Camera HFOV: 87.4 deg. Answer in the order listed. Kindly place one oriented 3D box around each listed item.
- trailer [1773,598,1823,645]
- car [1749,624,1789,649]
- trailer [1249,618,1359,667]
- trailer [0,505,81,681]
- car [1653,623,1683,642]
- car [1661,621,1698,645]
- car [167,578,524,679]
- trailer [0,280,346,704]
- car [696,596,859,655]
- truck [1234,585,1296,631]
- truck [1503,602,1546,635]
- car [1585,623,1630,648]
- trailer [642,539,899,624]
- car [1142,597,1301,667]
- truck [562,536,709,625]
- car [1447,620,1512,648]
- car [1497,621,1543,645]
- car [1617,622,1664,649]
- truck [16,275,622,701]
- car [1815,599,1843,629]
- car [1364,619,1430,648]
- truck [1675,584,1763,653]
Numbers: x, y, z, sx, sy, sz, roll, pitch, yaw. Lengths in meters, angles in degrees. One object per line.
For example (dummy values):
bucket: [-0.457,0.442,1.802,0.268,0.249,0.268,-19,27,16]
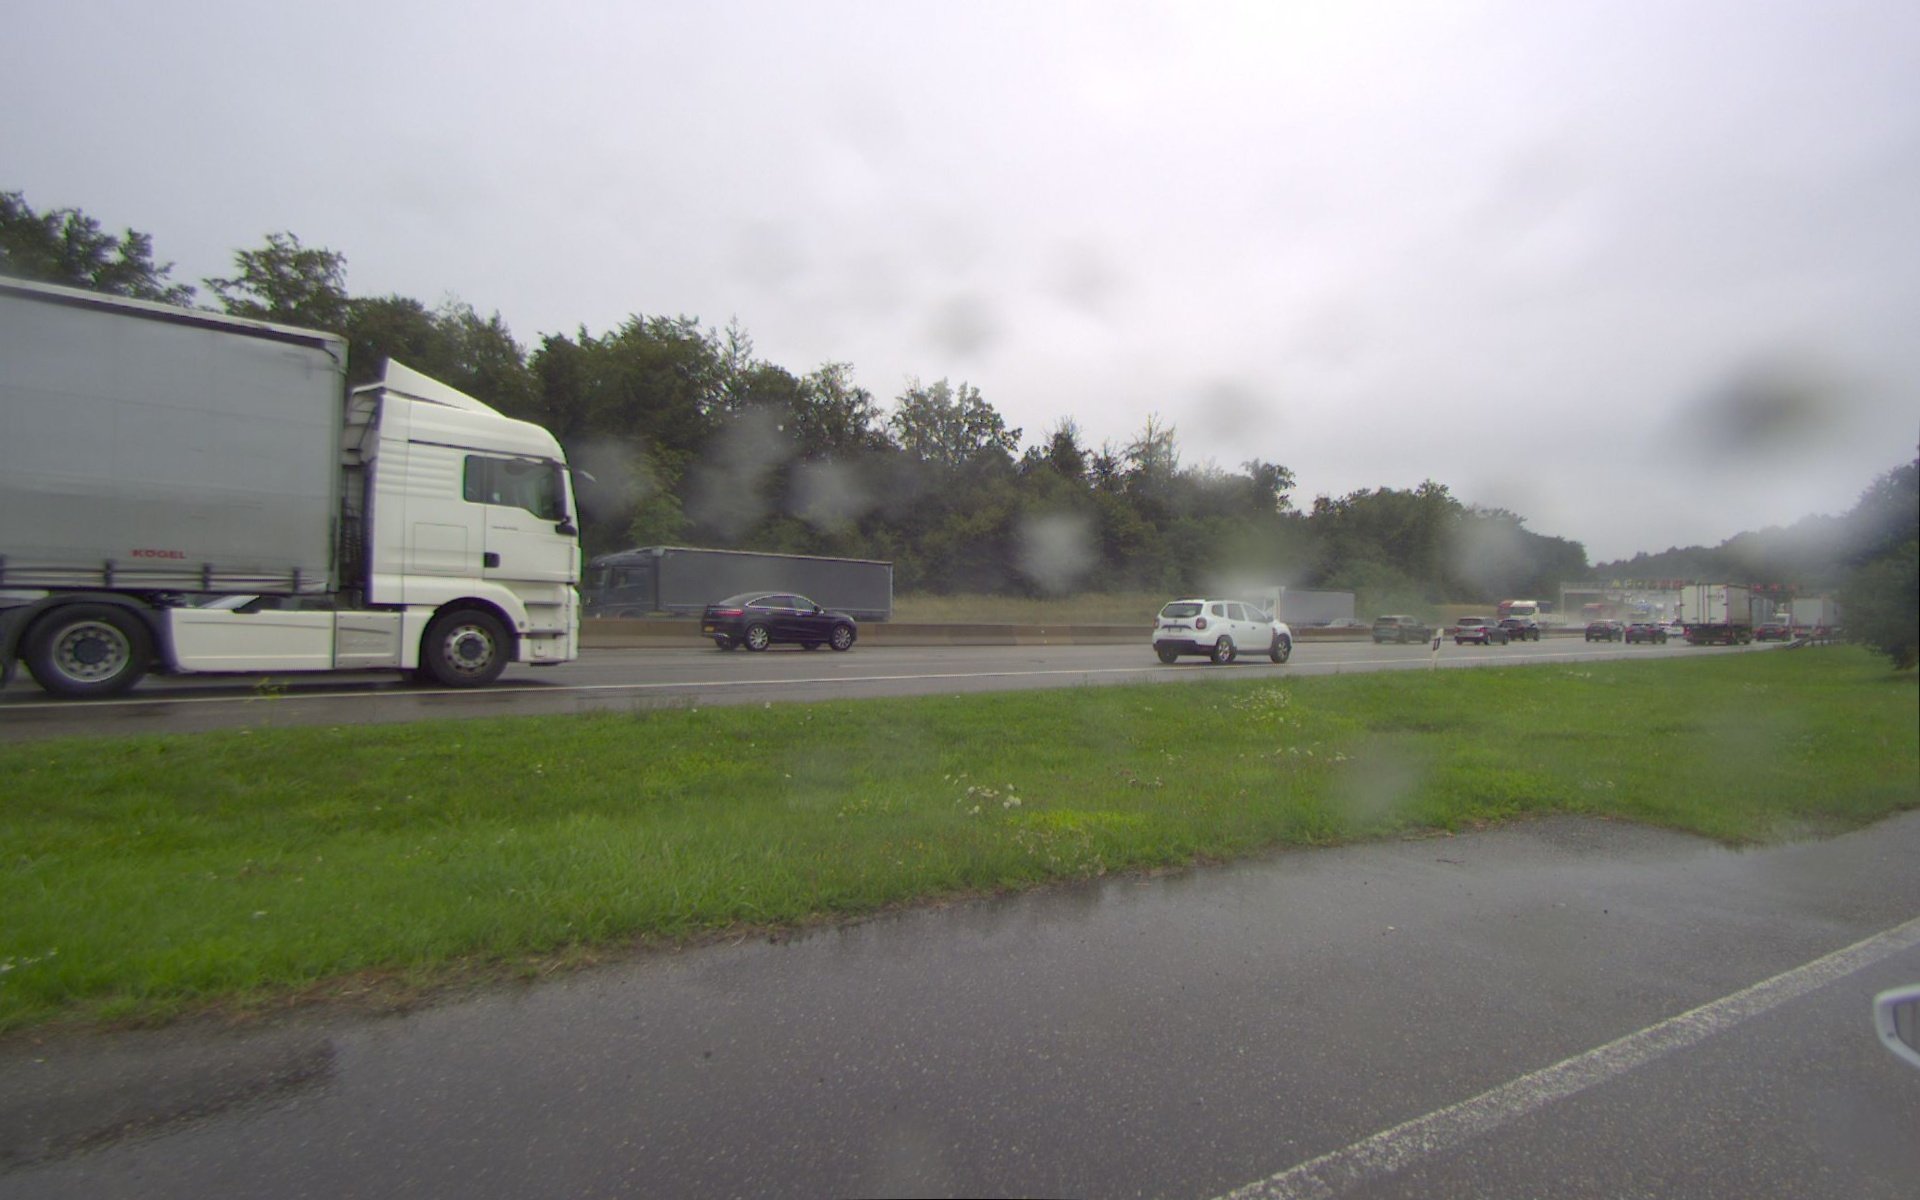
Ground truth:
trailer: [87.856,2.290,105.163,3.509,4.673,12.054,0,-2,42]
car: [66.706,2.995,82.792,3.972,1.840,1.975,2,2,-43]
trailer: [30.629,3.613,88.851,13.954,3.587,2.698,-1,5,-42]
trailer: [-14.012,-0.115,12.061,5.140,2.184,2.110,2,-2,-41]
car: [77.064,3.526,109.329,3.972,2.040,1.975,2,-1,-43]
car: [68.282,3.093,95.369,3.972,2.040,1.975,2,3,-43]
car: [-9.515,0.458,15.793,4.547,1.366,1.829,2,-2,-41]
trailer: [-13.216,-1.130,7.899,14.009,4.035,2.870,2,-2,-41]
car: [-5.294,0.783,29.541,4.490,1.596,1.690,2,-2,-41]
truck: [25.421,0.616,83.716,4.726,3.582,2.689,-1,5,-42]
truck: [67.668,2.165,120.339,5.946,3.720,2.598,0,4,-42]
car: [47.915,2.636,74.277,4.069,1.759,1.760,2,-2,-42]
trailer: [-9.225,-0.786,51.236,13.313,3.863,2.999,1,1,-43]
car: [6.622,0.799,25.211,4.289,1.607,1.771,2,-2,-41]
truck: [-14.804,-0.838,45.982,5.604,3.797,3.012,1,2,-43]
car: [29.975,1.980,57.896,4.298,1.547,1.774,2,-1,-39]
car: [41.364,2.442,74.190,4.069,1.759,1.759,2,-1,-42]
car: [46.238,2.407,68.212,3.818,1.759,1.759,2,-1,-42]
truck: [-7.735,-0.980,12.706,5.888,4.106,2.847,2,-2,-41]
car: [110.149,1.760,127.362,2.346,3.532,4.788,5,2,43]
car: [25.335,1.940,58.201,4.422,1.594,1.704,2,-2,-39]
truck: [51.794,1.395,68.359,11.760,4.349,2.822,3,-2,-43]
